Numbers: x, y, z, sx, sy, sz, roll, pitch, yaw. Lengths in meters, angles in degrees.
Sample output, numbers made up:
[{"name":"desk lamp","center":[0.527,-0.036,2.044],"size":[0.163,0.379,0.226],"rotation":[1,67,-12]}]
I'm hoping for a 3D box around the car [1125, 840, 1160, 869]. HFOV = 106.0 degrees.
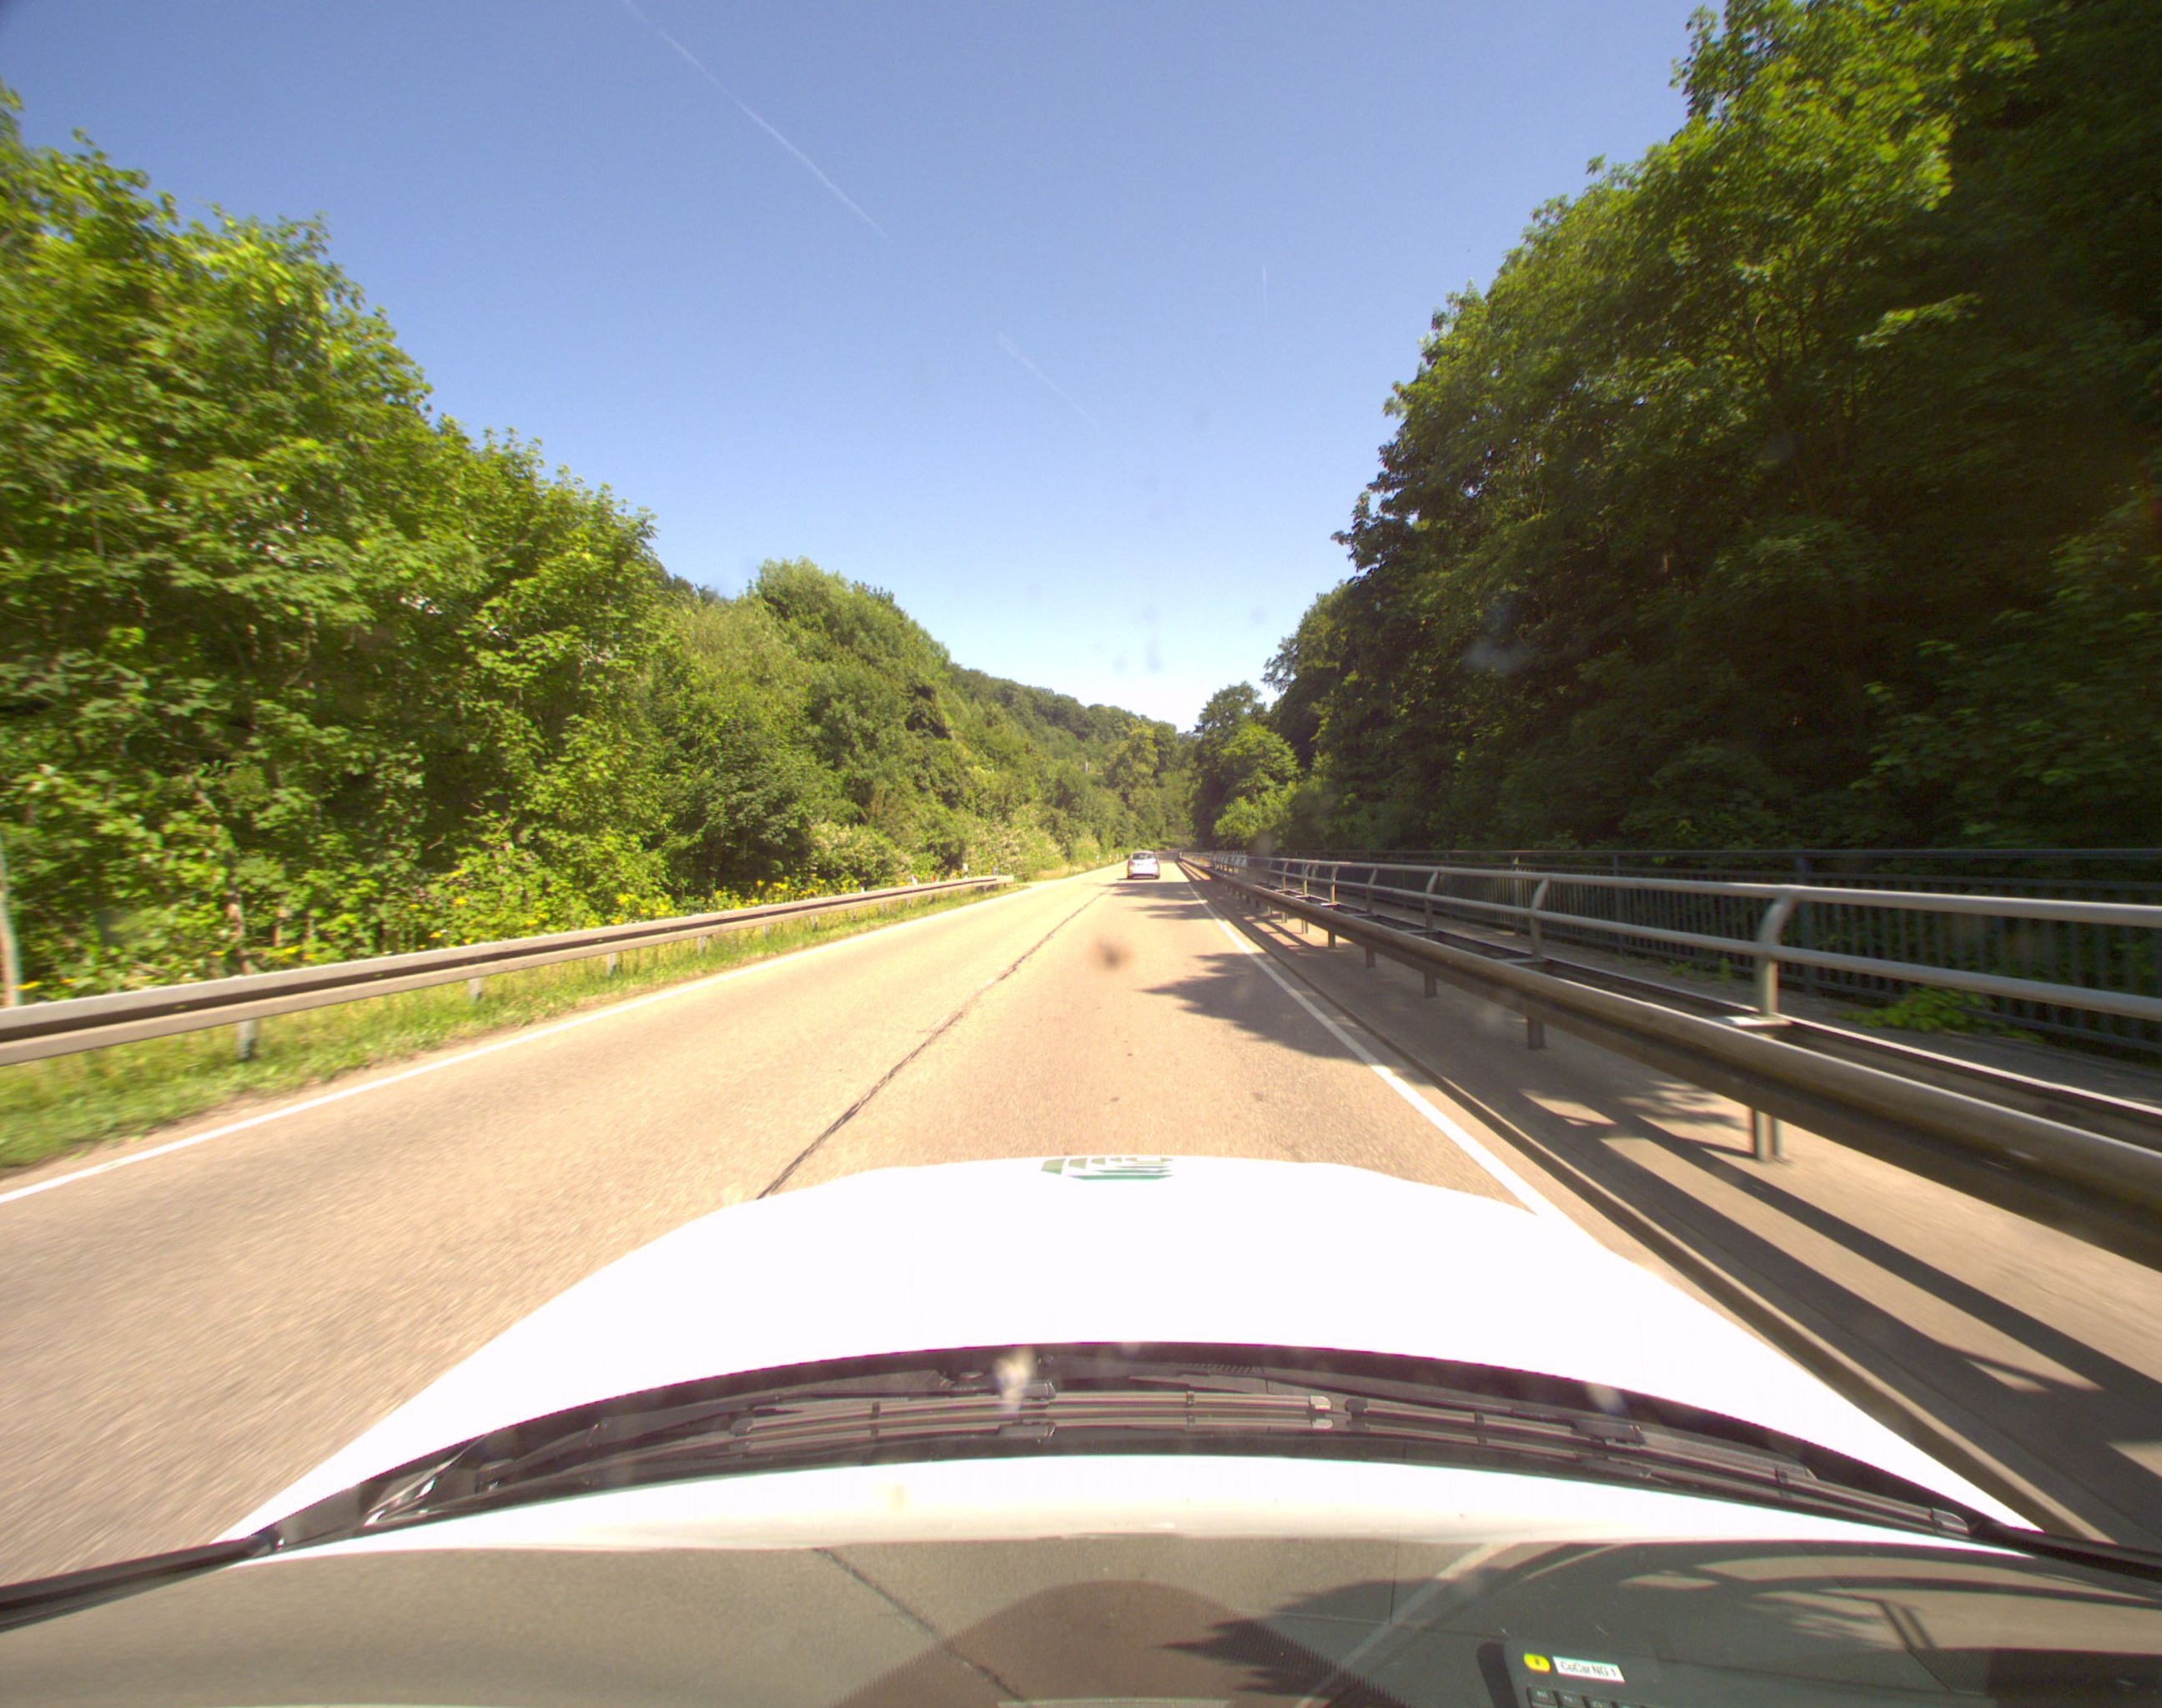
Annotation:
[{"name":"car","center":[3.469,-0.011,45.247],"size":[1.742,1.519,4.167],"rotation":[-1,1,6]}]
